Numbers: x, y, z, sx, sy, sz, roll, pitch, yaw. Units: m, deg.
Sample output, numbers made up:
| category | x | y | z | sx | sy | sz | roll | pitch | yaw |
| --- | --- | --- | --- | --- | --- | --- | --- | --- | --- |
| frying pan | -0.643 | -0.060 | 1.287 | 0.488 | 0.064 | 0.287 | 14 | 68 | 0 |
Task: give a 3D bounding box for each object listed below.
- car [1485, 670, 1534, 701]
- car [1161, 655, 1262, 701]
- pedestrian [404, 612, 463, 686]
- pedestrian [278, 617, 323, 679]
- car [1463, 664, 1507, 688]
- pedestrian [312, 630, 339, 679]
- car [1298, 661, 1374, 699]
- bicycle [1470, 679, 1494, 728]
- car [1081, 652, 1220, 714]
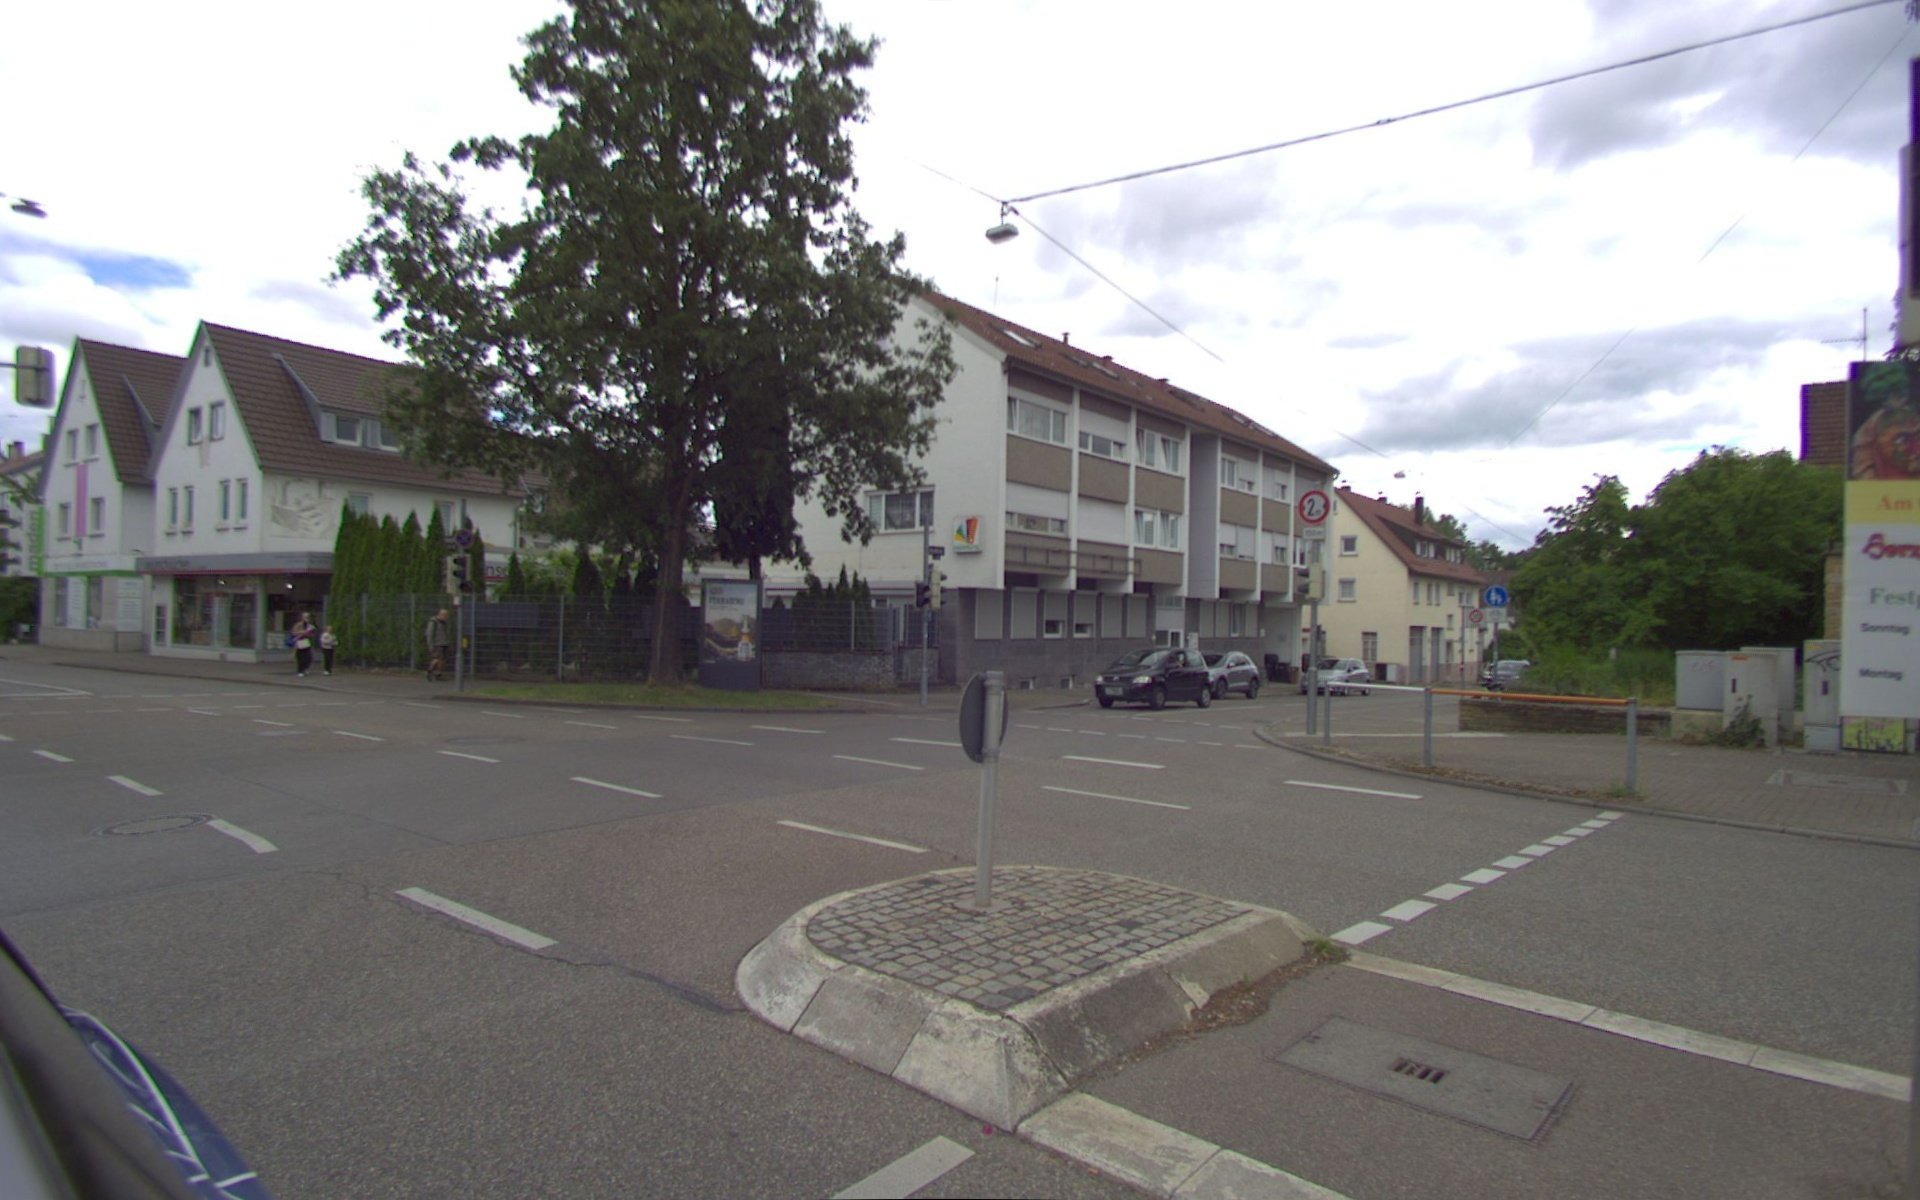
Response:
| category | x | y | z | sx | sy | sz | roll | pitch | yaw |
| --- | --- | --- | --- | --- | --- | --- | --- | --- | --- |
| car | 30.356 | 4.684 | 55.832 | 1.740 | 1.529 | 3.948 | -1 | -3 | 38 |
| car | 8.393 | 2.622 | 33.650 | 1.757 | 1.409 | 3.594 | -2 | -5 | 42 |
| pedestrian | -13.003 | 1.194 | 24.988 | 1.227 | 1.767 | 0.814 | 0 | -1 | 36 |
| pedestrian | -17.386 | 1.250 | 26.685 | 0.862 | 1.617 | 0.636 | 0 | 0 | 25 |
| car | 34.430 | 4.992 | 66.356 | 1.791 | 1.472 | 4.360 | -2 | -5 | 38 |
| pedestrian | -16.973 | 1.448 | 27.072 | 0.547 | 1.271 | 0.379 | 0 | -1 | 25 |
| car | 15.428 | 3.303 | 41.457 | 1.828 | 1.450 | 3.596 | -2 | -6 | 40 |
| bicycle | 10.660 | 2.103 | 20.669 | 0.423 | 0.949 | 1.305 | 0 | -5 | 27 |
| car | 4.803 | 2.040 | 25.220 | 1.771 | 1.409 | 3.594 | -2 | -4 | 42 |
